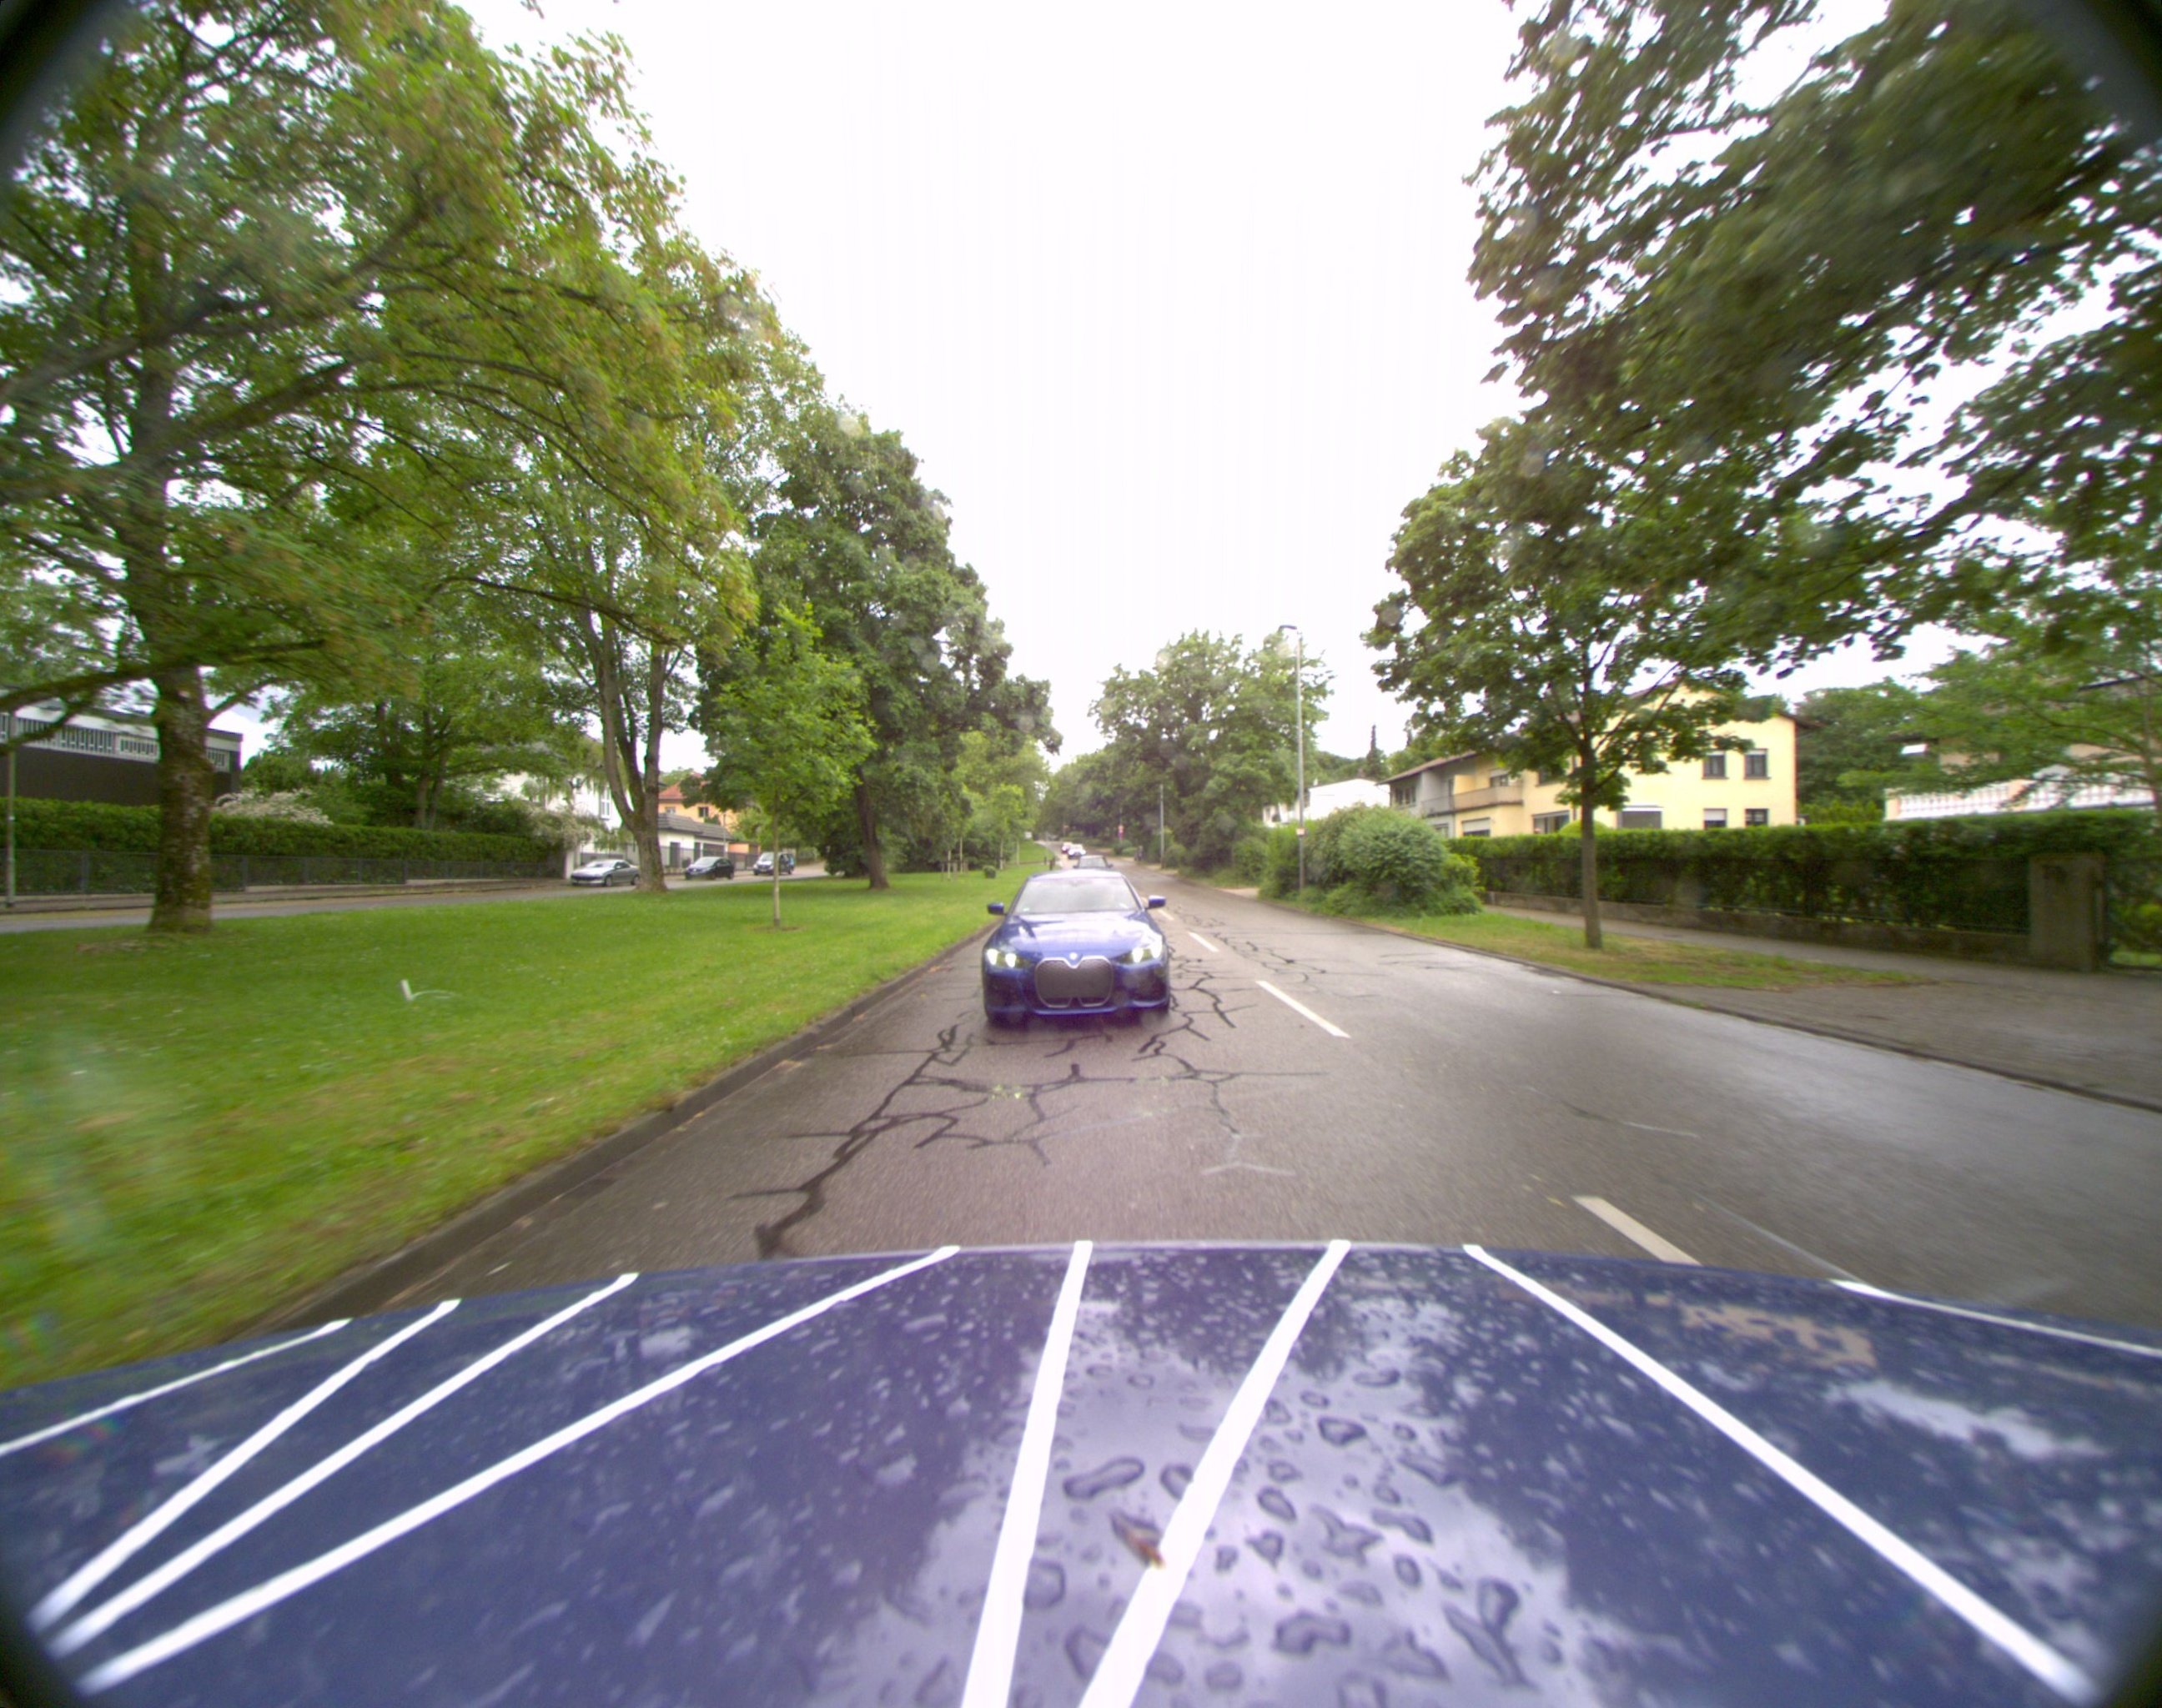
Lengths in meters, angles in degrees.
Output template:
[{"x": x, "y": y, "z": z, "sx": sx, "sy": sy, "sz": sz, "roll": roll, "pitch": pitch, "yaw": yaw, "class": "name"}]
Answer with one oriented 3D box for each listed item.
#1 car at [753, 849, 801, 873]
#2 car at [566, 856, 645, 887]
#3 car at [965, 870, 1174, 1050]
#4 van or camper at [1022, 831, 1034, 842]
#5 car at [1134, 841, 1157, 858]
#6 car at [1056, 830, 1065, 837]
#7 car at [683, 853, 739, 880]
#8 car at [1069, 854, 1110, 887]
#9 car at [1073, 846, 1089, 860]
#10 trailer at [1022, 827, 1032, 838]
[{"x": -25.075, "y": 0.514, "z": 62.906, "sx": 2.165, "sy": 1.868, "sz": 5.067, "roll": 0, "pitch": 1, "yaw": -3, "class": "car"}, {"x": -23.766, "y": 0.825, "z": 38.122, "sx": 1.686, "sy": 1.367, "sz": 3.708, "roll": 2, "pitch": 0, "yaw": -2, "class": "car"}, {"x": -0.018, "y": 0.990, "z": 9.020, "sx": 1.796, "sy": 1.458, "sz": 4.510, "roll": -2, "pitch": 0, "yaw": 2, "class": "car"}, {"x": -10.283, "y": -3.394, "z": 146.256, "sx": 2.000, "sy": 1.858, "sz": 5.658, "roll": 0, "pitch": 2, "yaw": -7, "class": "van or camper"}, {"x": 6.740, "y": -0.482, "z": 79.439, "sx": 1.668, "sy": 1.533, "sz": 4.281, "roll": -3, "pitch": 2, "yaw": -4, "class": "car"}, {"x": -4.285, "y": -4.219, "z": 159.321, "sx": 1.759, "sy": 1.356, "sz": 4.322, "roll": 1, "pitch": 3, "yaw": -1, "class": "car"}, {"x": -24.450, "y": 0.795, "z": 50.389, "sx": 1.907, "sy": 1.615, "sz": 4.033, "roll": 0, "pitch": 1, "yaw": -3, "class": "car"}, {"x": 0.460, "y": 0.720, "z": 35.773, "sx": 1.796, "sy": 1.458, "sz": 4.510, "roll": 0, "pitch": 0, "yaw": 2, "class": "car"}, {"x": -0.006, "y": -0.144, "z": 86.508, "sx": 1.678, "sy": 1.542, "sz": 3.832, "roll": 1, "pitch": 1, "yaw": 1, "class": "car"}, {"x": -10.712, "y": -4.289, "z": 151.138, "sx": 1.702, "sy": 2.043, "sz": 3.947, "roll": 0, "pitch": 3, "yaw": -7, "class": "trailer"}]
